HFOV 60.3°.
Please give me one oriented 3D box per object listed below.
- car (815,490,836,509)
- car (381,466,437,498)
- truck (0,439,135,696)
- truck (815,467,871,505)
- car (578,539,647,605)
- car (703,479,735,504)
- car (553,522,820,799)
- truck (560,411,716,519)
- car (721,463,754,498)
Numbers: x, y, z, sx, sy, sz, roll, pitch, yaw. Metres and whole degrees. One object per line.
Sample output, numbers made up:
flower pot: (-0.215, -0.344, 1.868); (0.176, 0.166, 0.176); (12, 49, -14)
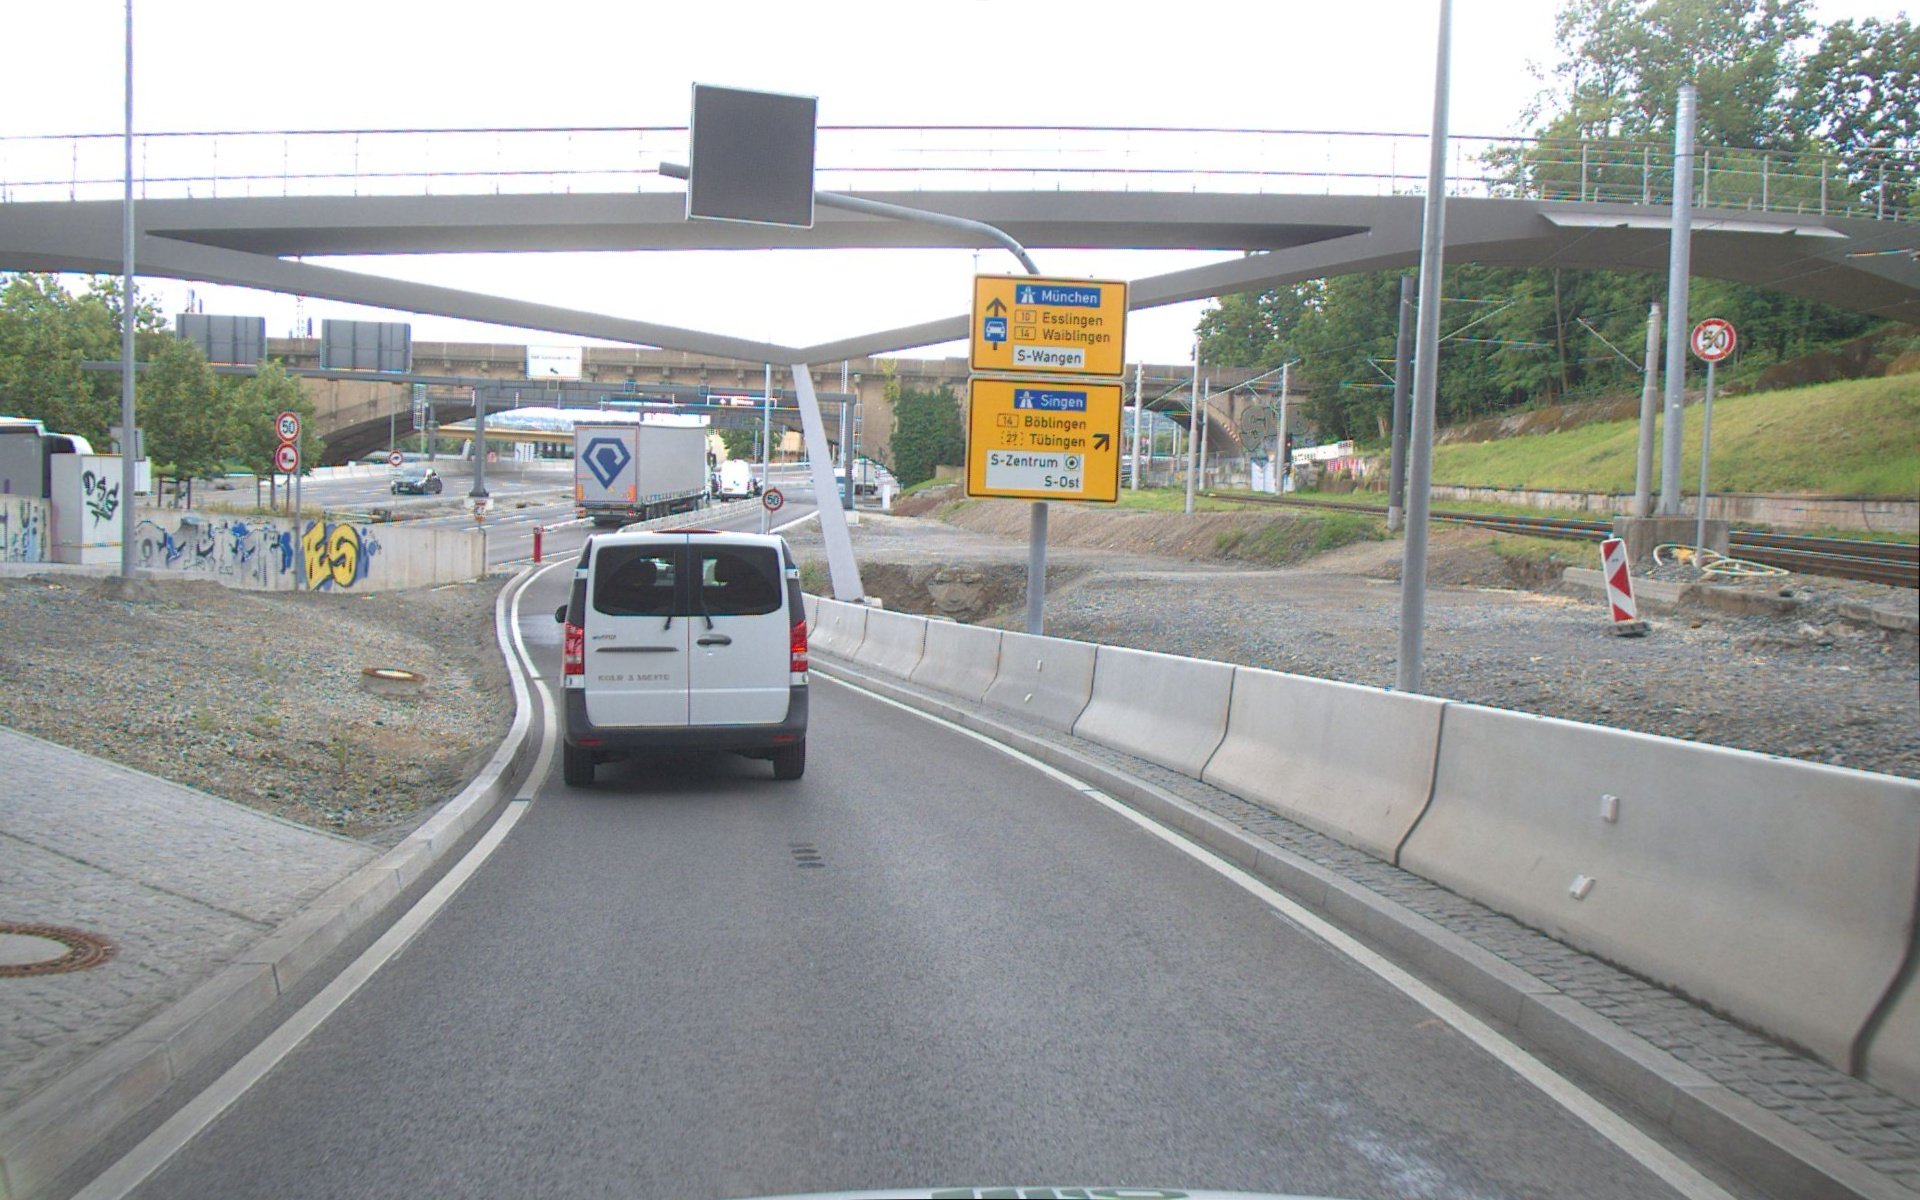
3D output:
car: (-12.335, -9.203, 152.101); (1.591, 1.612, 4.000); (3, 2, -1)
car: (-30.465, -6.506, 91.558); (1.671, 1.652, 4.002); (1, 2, 2)
truck: (-17.480, -0.561, 25.650); (2.925, 4.248, 11.248); (3, 2, 4)
truck: (-11.880, -11.580, 168.766); (3.324, 3.202, 7.262); (6, 2, 14)
car: (-8.620, -0.723, 41.215); (1.473, 1.494, 3.392); (2, 2, -9)
car: (-17.683, -7.927, 121.409); (1.611, 1.648, 4.002); (3, 3, 2)
car: (-2.312, 0.405, 13.993); (1.842, 1.924, 4.742); (0, 0, -10)
truck: (-13.436, -5.803, 70.972); (3.249, 3.873, 16.603); (4, 5, 0)
car: (-14.735, -7.896, 109.622); (1.861, 2.152, 4.482); (3, 2, -5)
